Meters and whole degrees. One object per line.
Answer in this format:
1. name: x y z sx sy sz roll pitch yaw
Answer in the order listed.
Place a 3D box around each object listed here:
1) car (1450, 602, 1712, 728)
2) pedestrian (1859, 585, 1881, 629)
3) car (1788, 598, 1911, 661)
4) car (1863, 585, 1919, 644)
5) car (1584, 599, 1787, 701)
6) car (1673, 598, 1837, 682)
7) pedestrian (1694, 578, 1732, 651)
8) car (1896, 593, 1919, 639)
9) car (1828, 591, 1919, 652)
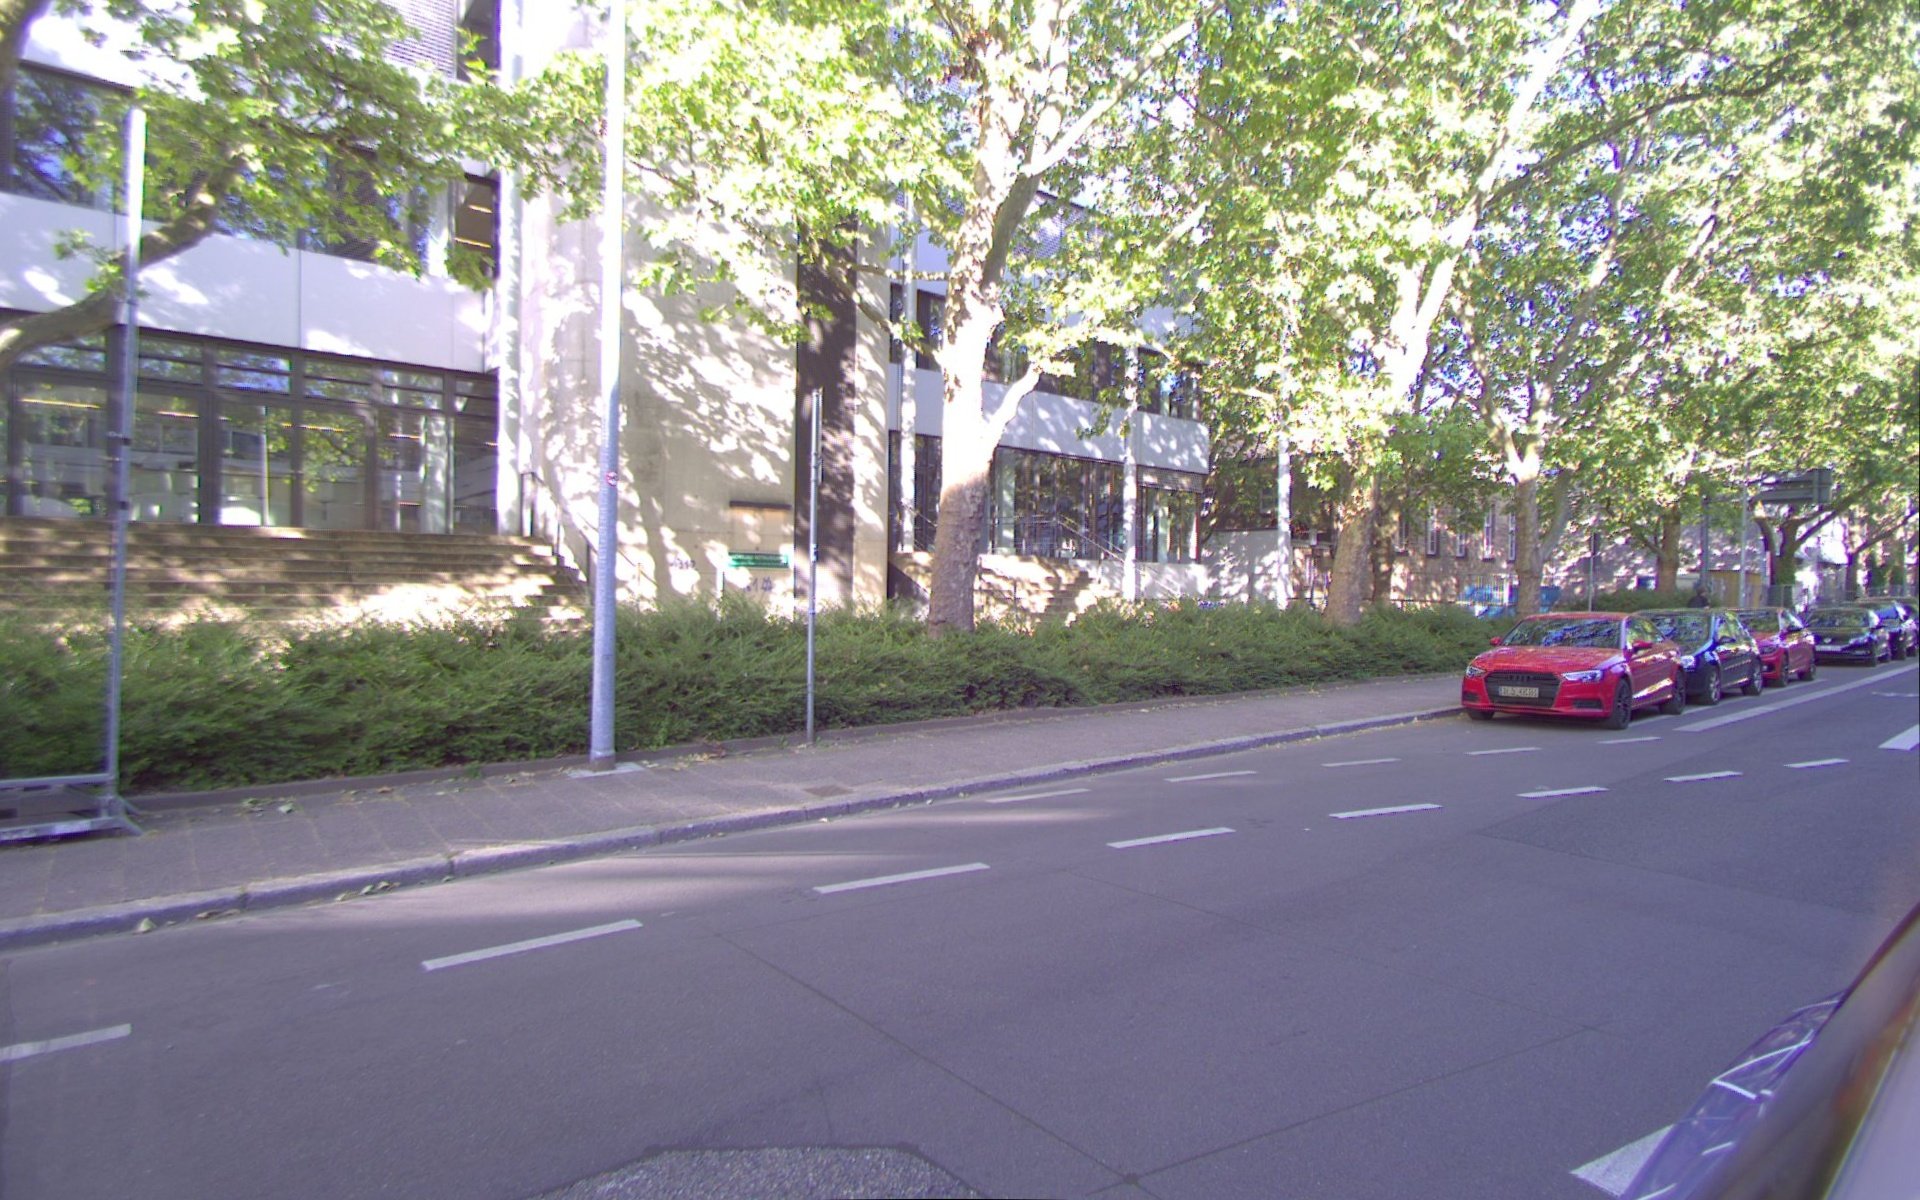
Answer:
1. car: 8.409 0.740 13.571 4.173 1.422 1.834 0 0 -41
2. pedestrian: 37.991 0.273 42.259 0.583 1.818 0.600 0 0 -41
3. car: 22.877 0.705 25.994 4.095 1.486 1.834 0 0 -41
4. car: 31.051 0.441 32.978 4.383 1.820 1.834 0 0 -40
5. car: 12.028 0.722 16.688 4.095 1.464 1.834 0 0 -41
6. car: 15.844 0.712 20.103 4.095 1.486 1.834 0 0 -41
7. pedestrian: 19.965 0.375 26.830 0.629 1.884 0.660 0 0 -41
8. car: 35.914 0.583 37.103 4.183 1.634 1.834 0 0 -40
9. car: 26.566 0.575 29.088 4.088 1.626 1.834 0 0 -40
